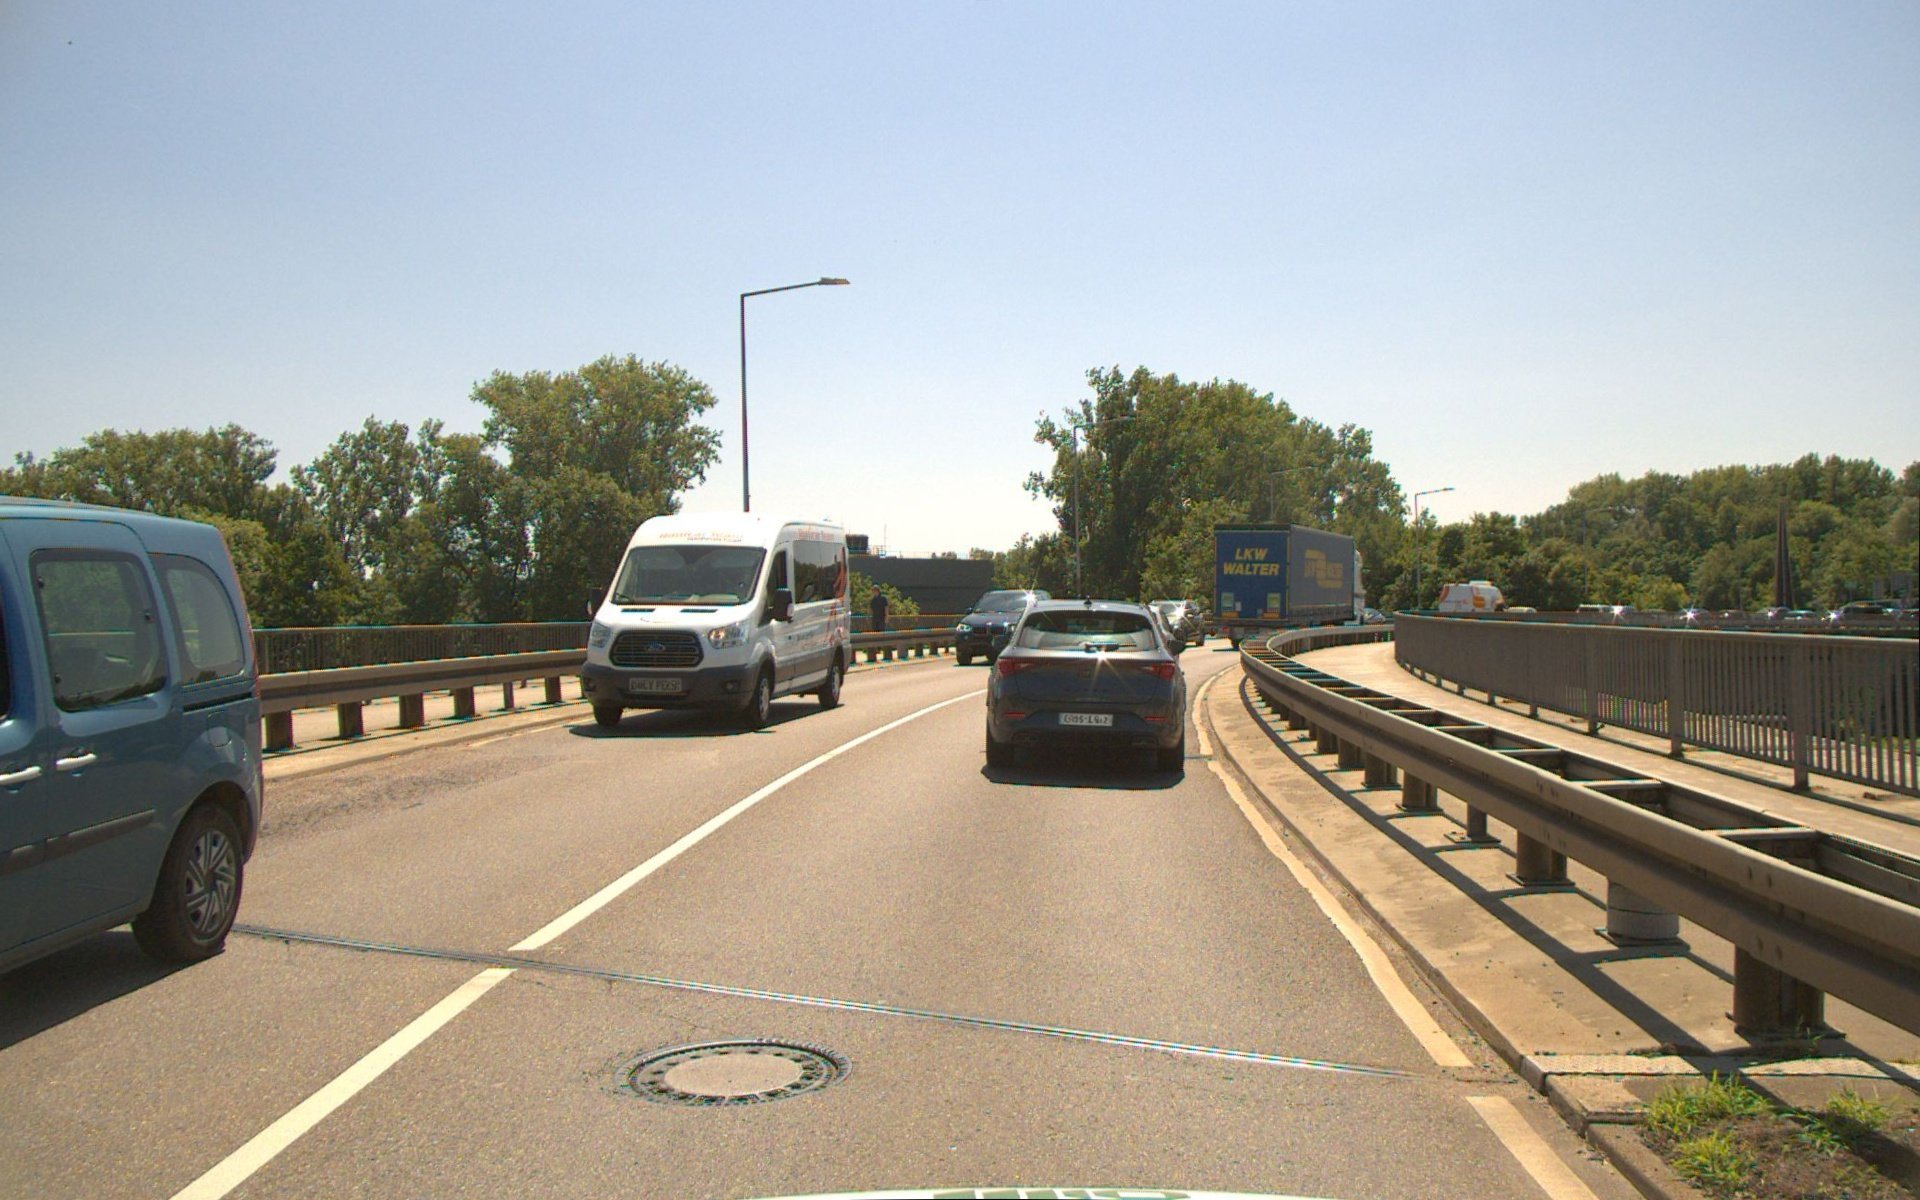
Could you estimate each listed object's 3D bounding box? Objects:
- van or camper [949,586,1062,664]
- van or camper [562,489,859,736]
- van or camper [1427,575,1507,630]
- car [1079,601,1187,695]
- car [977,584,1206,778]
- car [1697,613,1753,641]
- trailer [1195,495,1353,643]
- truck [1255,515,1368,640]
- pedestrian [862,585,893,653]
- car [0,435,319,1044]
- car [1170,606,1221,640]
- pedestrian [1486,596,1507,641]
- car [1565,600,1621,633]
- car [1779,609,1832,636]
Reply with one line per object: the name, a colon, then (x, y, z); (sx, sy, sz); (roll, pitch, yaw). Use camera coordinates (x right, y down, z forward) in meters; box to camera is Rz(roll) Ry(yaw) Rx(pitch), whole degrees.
van or camper: (1.180, 0.614, 40.345); (1.951, 1.792, 4.702); (0, -1, 12)
van or camper: (-2.821, 0.095, 20.337); (2.004, 2.582, 5.888); (0, 1, 8)
van or camper: (26.684, 0.128, 86.961); (2.167, 2.758, 5.901); (1, 0, 37)
car: (3.065, 0.799, 28.825); (1.559, 1.486, 3.547); (2, 0, 10)
car: (1.197, 0.639, 15.127); (1.807, 1.525, 3.760); (1, 0, 4)
car: (53.212, 1.895, 114.999); (3.956, 1.882, 1.870); (2, -1, -37)
trailer: (11.474, -0.932, 59.036); (3.070, 4.695, 12.946); (2, 0, 22)
truck: (14.022, -0.793, 65.477); (3.105, 4.665, 7.395); (1, -1, 22)
pedestrian: (-2.247, 0.525, 45.070); (0.624, 1.814, 0.812); (1, -1, 11)
car: (-3.823, 0.422, 5.332); (1.720, 1.887, 4.276); (1, 0, 1)
car: (10.381, 1.004, 72.707); (1.751, 1.444, 3.776); (-1, -1, 15)
pedestrian: (24.122, 0.822, 74.359); (0.723, 2.002, 0.733); (1, -1, 31)
car: (38.439, 1.013, 100.406); (1.861, 1.882, 3.976); (1, -1, 42)
car: (61.817, 1.656, 120.873); (3.954, 1.882, 1.871); (2, -1, -36)
